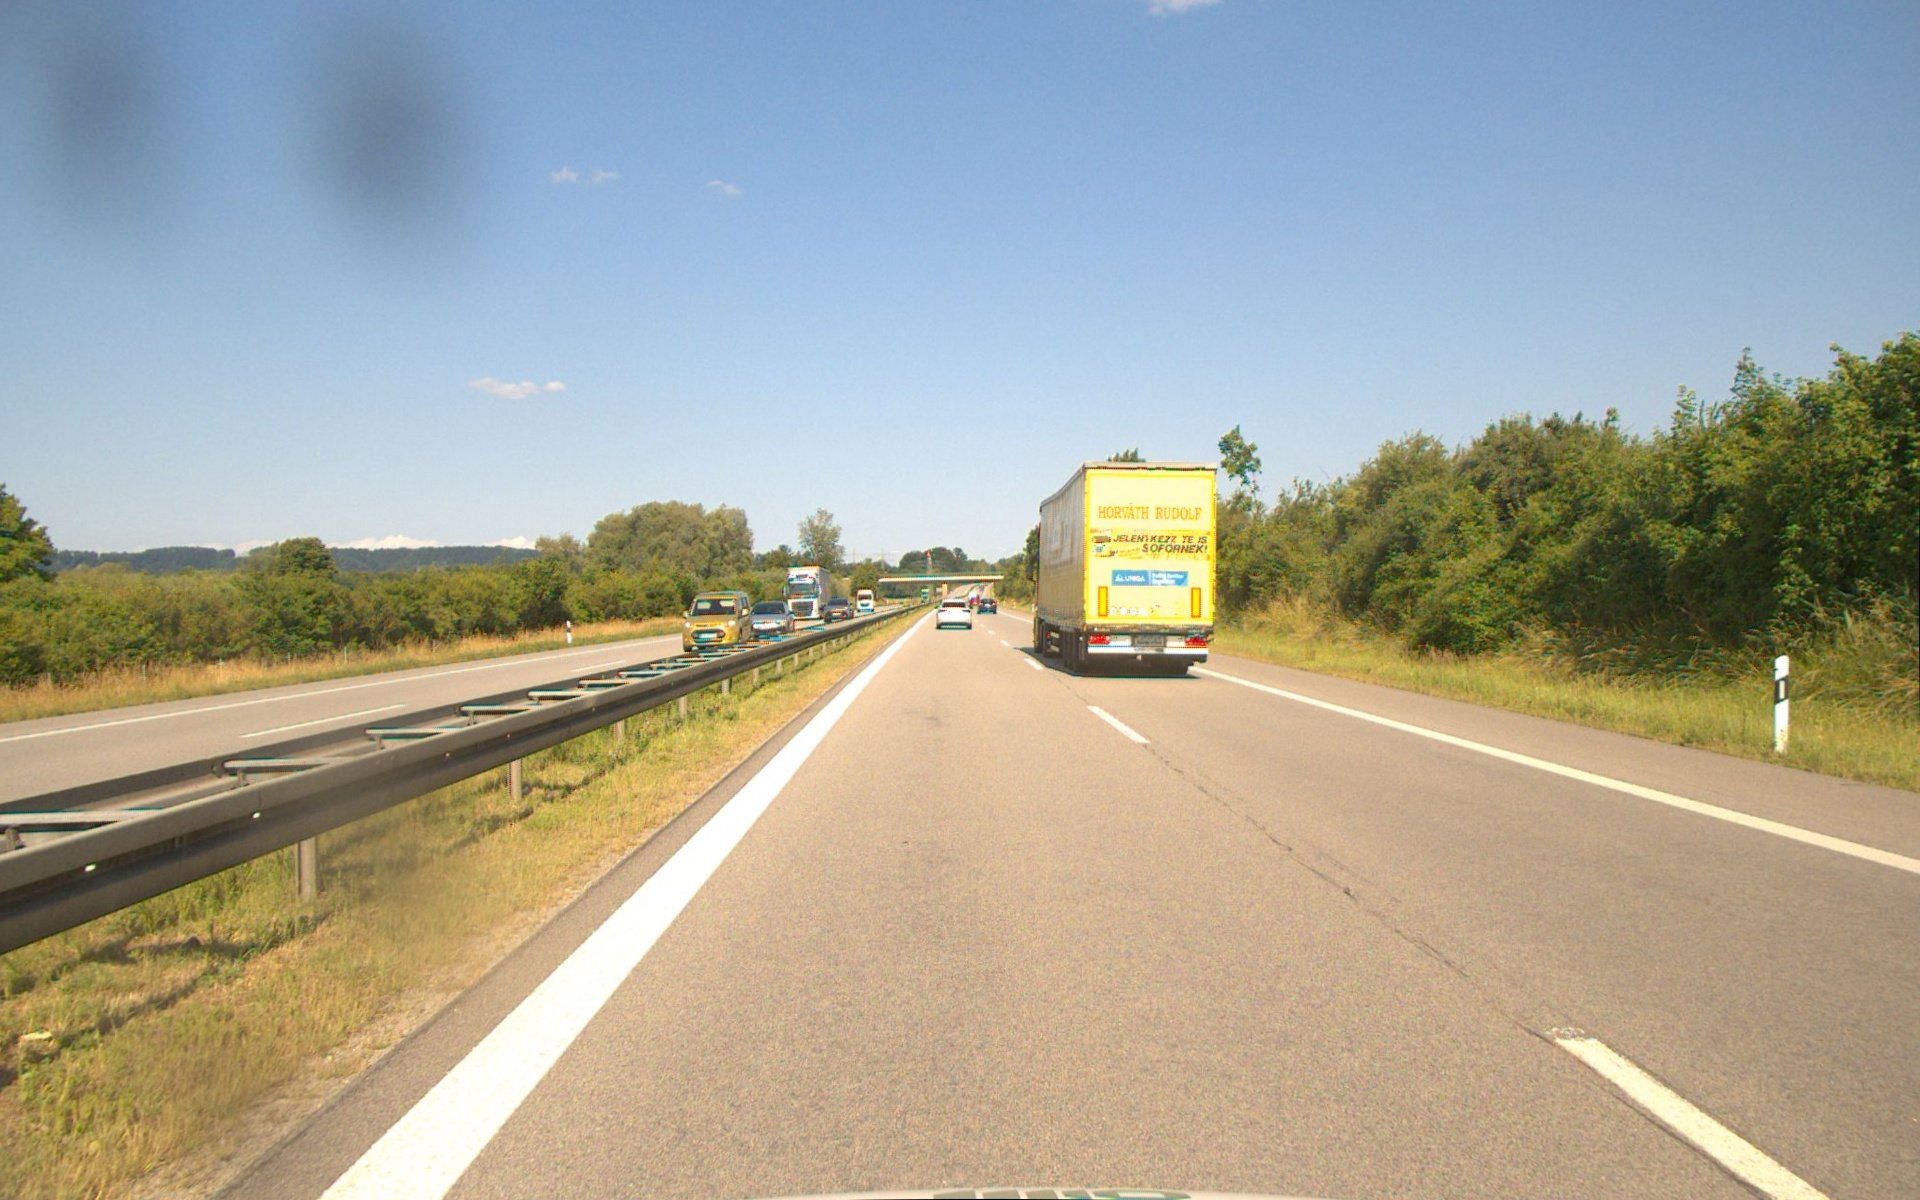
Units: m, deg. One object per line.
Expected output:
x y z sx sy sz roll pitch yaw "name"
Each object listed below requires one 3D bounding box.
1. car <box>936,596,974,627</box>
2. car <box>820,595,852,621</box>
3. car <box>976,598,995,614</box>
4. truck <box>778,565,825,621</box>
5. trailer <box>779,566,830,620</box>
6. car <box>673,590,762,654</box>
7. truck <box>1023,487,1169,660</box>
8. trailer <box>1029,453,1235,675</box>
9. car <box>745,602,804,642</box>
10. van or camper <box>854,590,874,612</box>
-0.237 0.566 81.688 1.805 1.440 4.000 1 0 0 "car"
-8.461 0.541 113.213 1.690 1.610 4.767 -4 0 0 "car"
2.436 0.573 159.827 1.805 1.546 4.000 1 0 0 "car"
-12.593 -0.550 131.707 3.105 4.185 6.386 -2 0 -2 "truck"
-12.877 -0.556 138.304 3.121 4.130 14.592 -3 0 -2 "trailer"
-7.553 0.663 51.933 1.910 1.802 4.749 -4 0 1 "car"
3.459 -0.644 43.798 3.105 4.186 6.386 1 0 -2 "truck"
3.522 -0.660 37.682 3.120 4.130 13.184 1 0 -1 "trailer"
-7.584 0.870 67.905 1.731 1.444 4.470 -4 0 1 "car"
-11.507 0.133 198.818 1.953 2.540 7.227 -2 0 -1 "van or camper"
